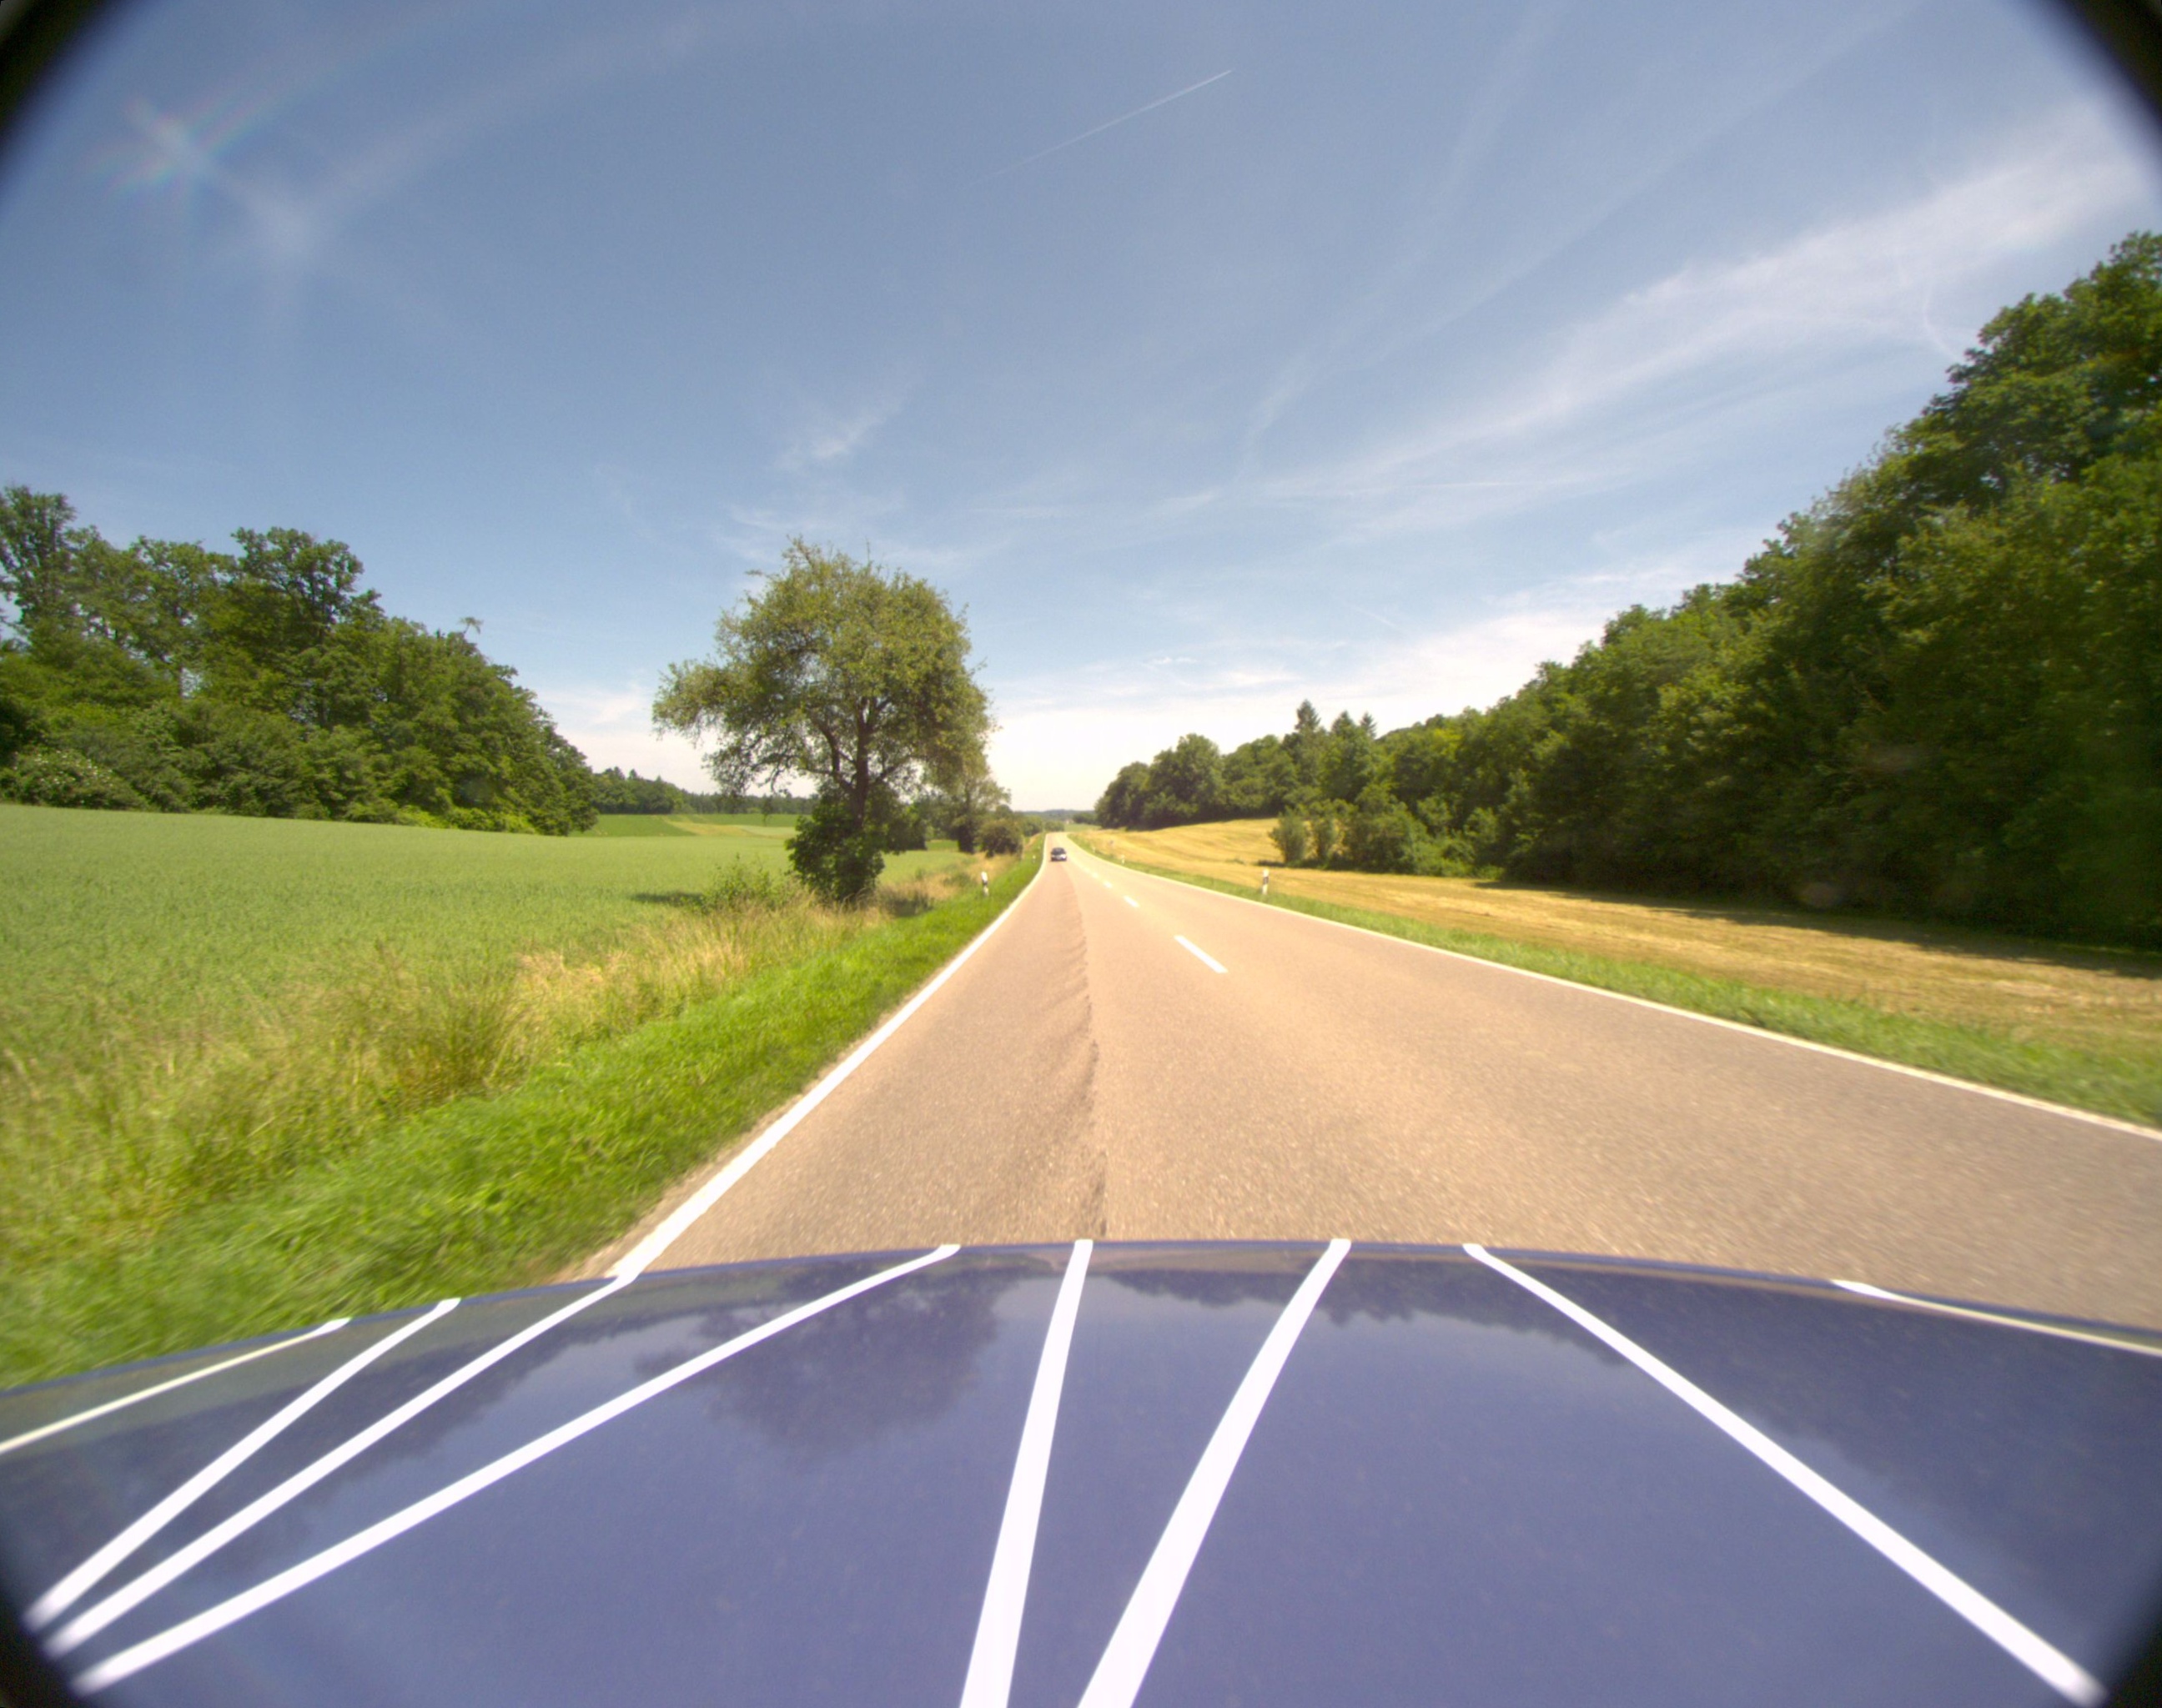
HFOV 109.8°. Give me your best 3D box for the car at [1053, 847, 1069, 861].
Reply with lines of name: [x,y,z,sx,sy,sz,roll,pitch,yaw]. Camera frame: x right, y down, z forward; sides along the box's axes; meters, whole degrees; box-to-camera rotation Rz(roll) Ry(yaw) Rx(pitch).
car: [-2.353,0.048,88.729,1.816,1.569,4.153,-2,0,-2]
